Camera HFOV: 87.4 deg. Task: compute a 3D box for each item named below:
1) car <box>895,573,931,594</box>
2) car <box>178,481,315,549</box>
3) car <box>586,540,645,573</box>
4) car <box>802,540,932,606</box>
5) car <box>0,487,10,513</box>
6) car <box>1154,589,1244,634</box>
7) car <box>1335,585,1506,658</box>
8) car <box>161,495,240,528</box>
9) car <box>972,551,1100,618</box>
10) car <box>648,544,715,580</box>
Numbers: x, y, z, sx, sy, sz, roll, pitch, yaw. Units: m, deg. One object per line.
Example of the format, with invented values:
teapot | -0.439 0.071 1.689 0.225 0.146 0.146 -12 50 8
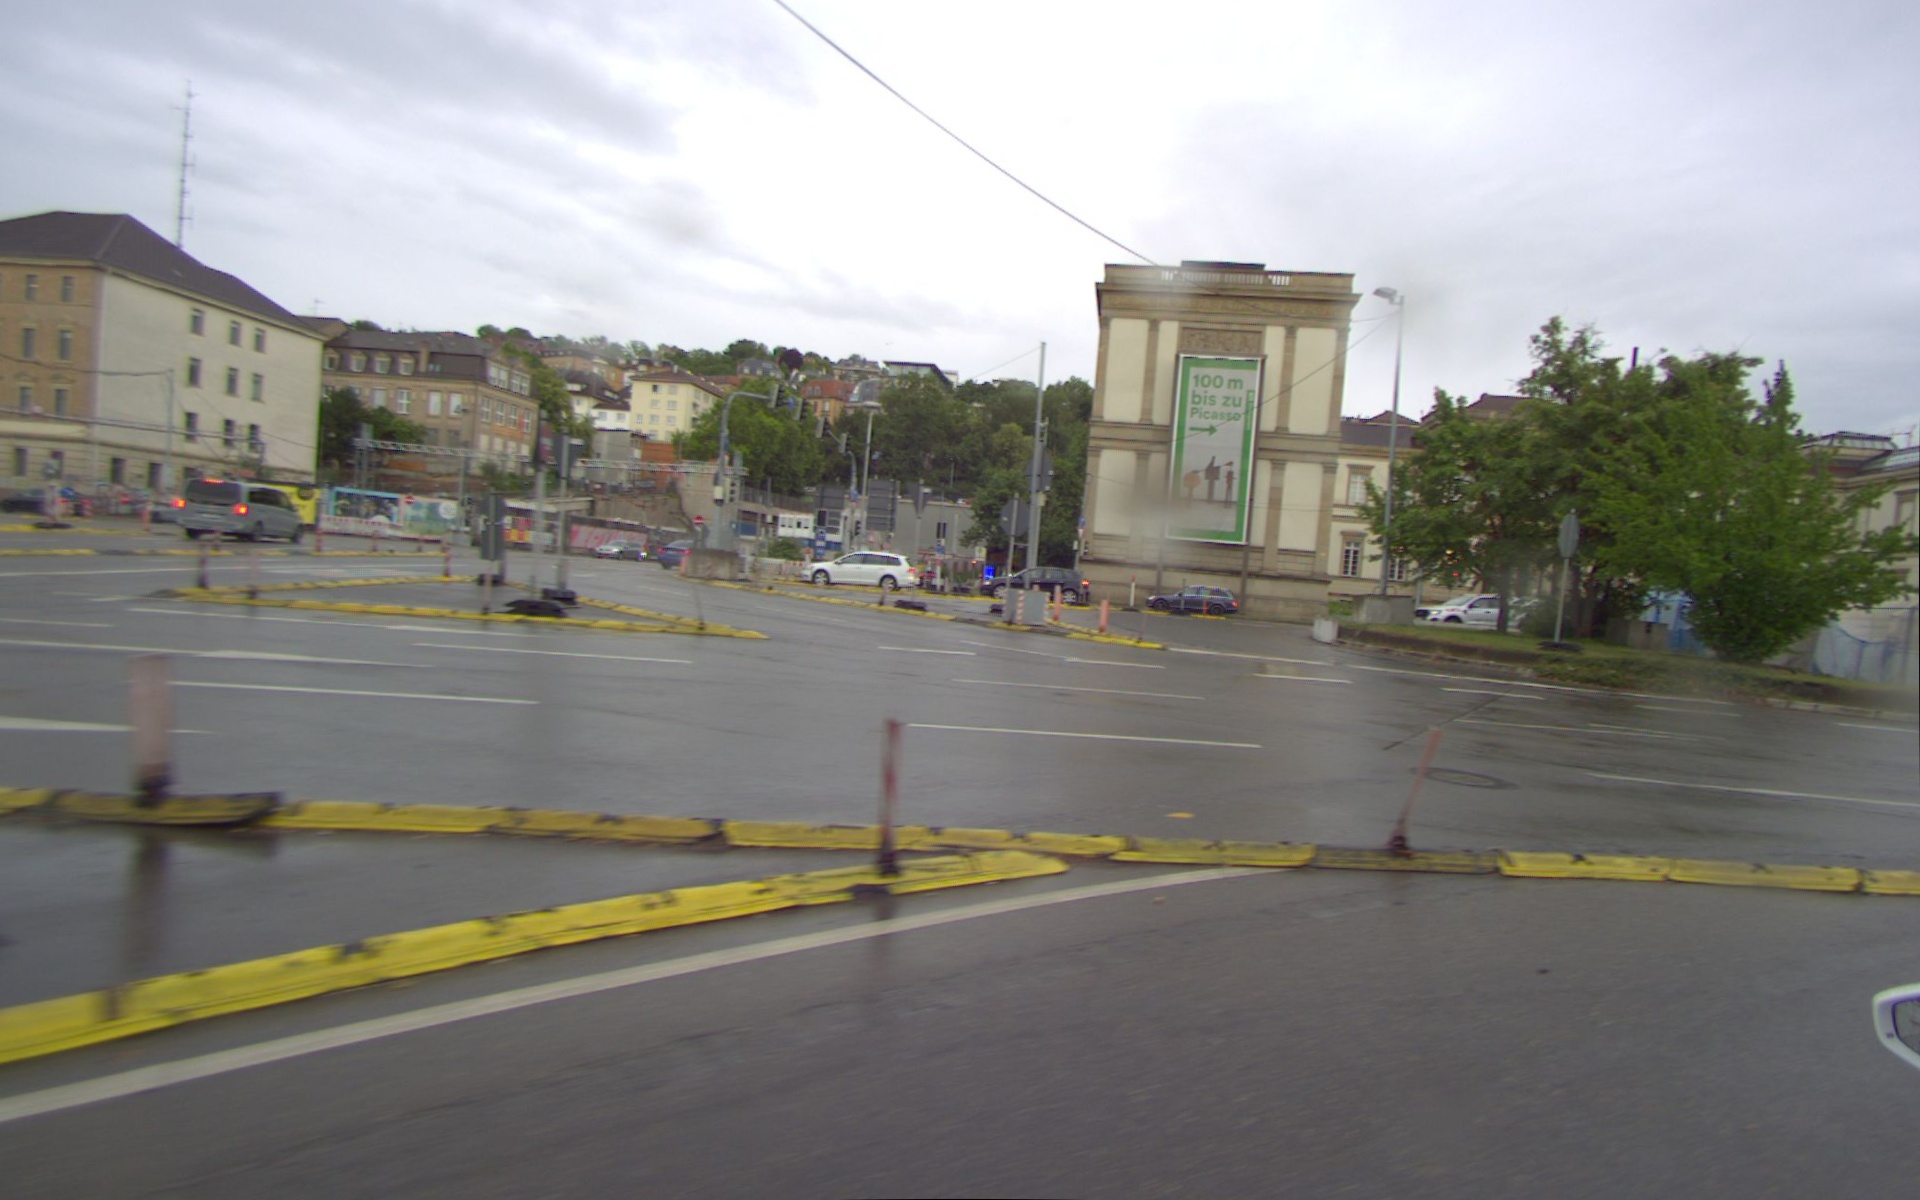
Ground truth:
car | -4.289 -1.522 92.514 1.961 1.655 4.001 7 3 15
car | -23.138 -2.734 32.807 1.967 1.863 4.668 5 3 -14
car | -24.256 -3.063 70.936 1.960 2.040 4.001 6 4 14
car | -3.545 -1.074 38.951 4.549 2.040 2.000 6 4 6
car | -58.767 -6.164 59.708 3.348 1.483 1.651 7 4 12
car | 11.820 0.554 49.908 4.110 1.723 1.823 6 4 11
car | 18.248 0.823 39.977 5.578 2.202 2.368 5 4 -6
car | -42.099 -4.886 55.679 3.732 1.365 1.583 8 4 17
car | 2.915 -0.633 38.342 4.597 2.040 2.000 6 4 6
car | -13.148 -1.829 47.686 1.961 1.457 3.999 5 3 0
